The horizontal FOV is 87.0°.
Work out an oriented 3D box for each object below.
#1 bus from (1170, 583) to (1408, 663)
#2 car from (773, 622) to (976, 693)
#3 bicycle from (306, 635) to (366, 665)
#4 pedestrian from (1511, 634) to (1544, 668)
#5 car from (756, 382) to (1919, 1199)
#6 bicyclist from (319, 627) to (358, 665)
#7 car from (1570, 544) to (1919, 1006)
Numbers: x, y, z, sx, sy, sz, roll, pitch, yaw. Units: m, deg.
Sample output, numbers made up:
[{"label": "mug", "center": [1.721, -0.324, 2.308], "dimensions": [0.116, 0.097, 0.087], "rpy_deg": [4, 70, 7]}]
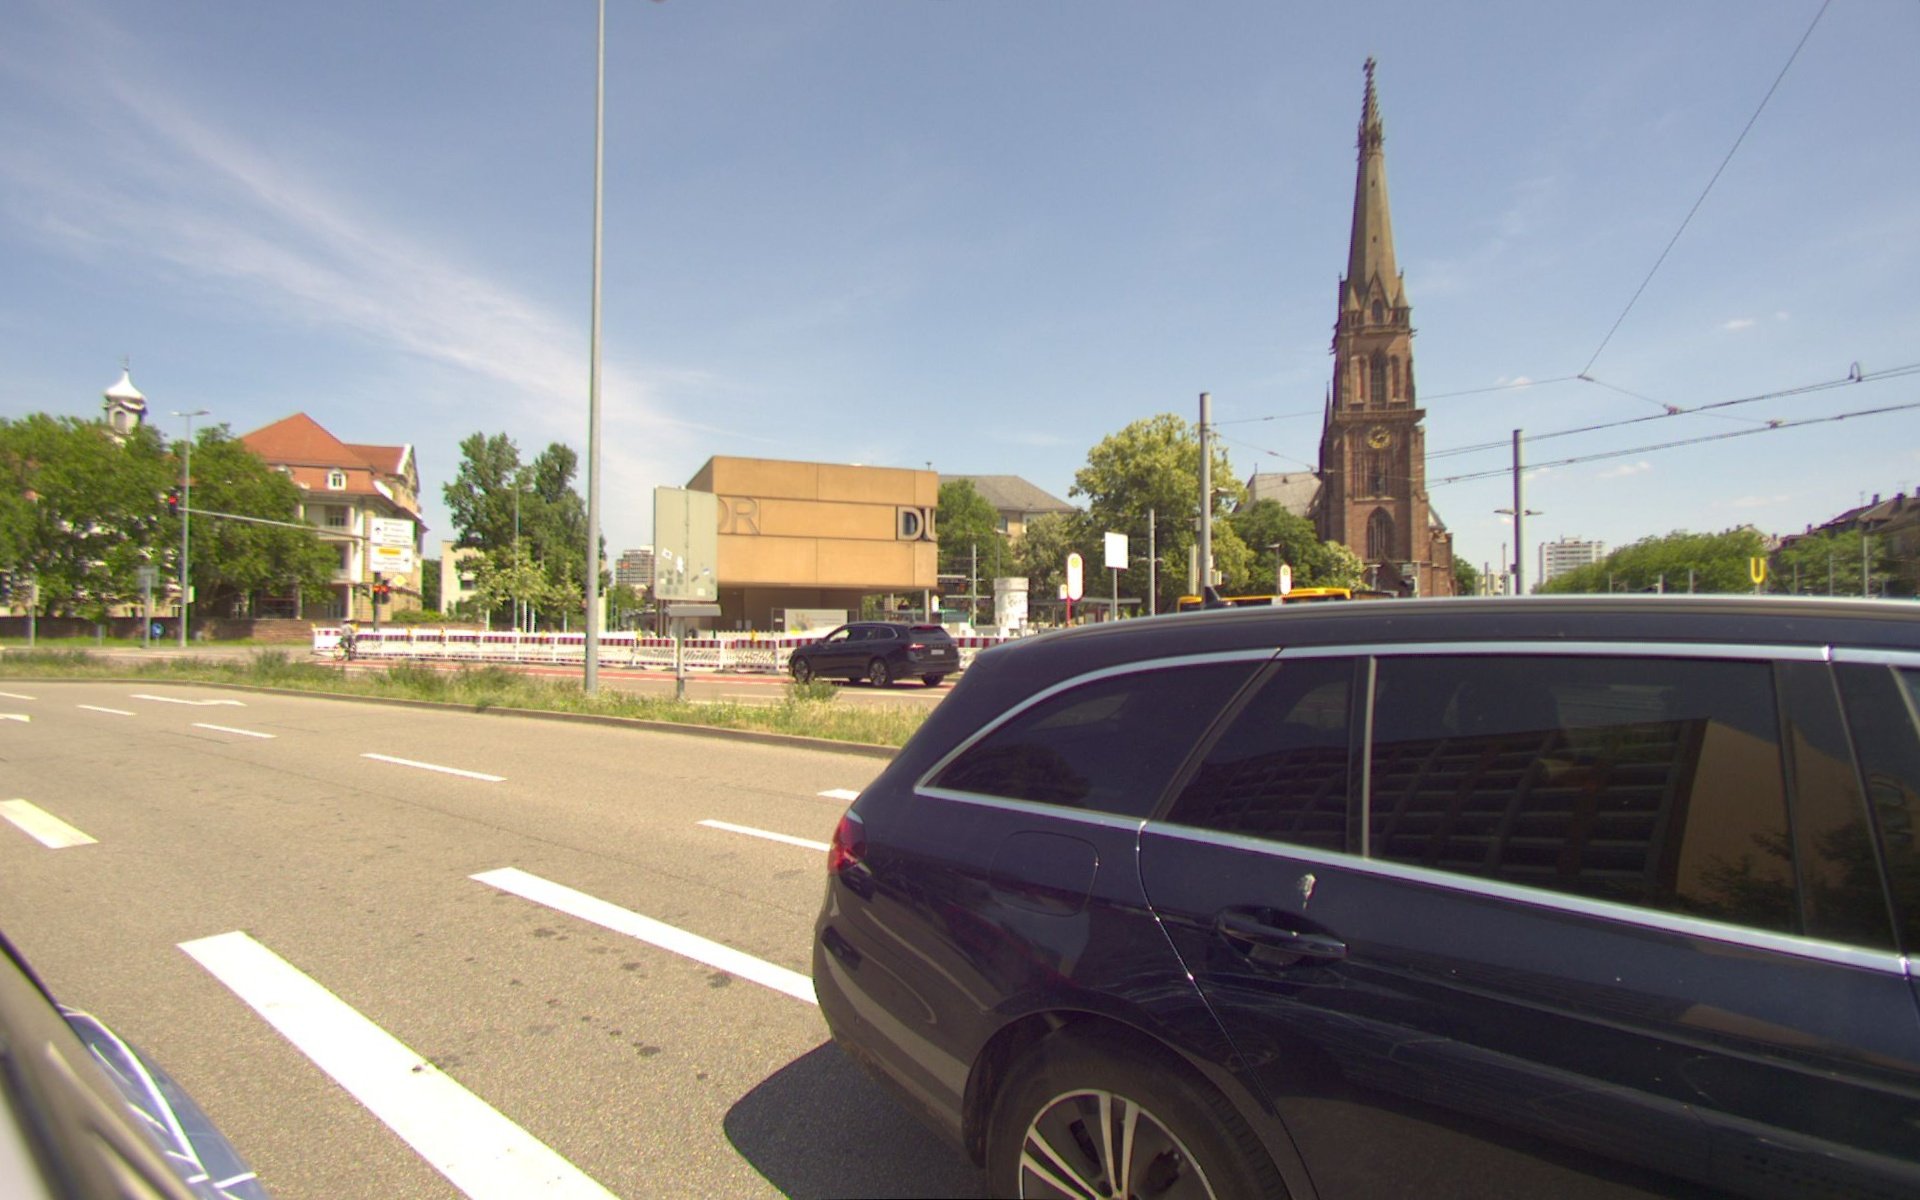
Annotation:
[{"label": "bus", "center": [14.032, 1.088, 45.019], "dimensions": [2.807, 3.039, 12.259], "rpy_deg": [1, -2, -22]}, {"label": "car", "center": [-2.072, 1.275, 23.514], "dimensions": [4.846, 1.476, 1.972], "rpy_deg": [-2, -3, 43]}, {"label": "bicycle", "center": [-23.348, 1.857, 37.866], "dimensions": [2.220, 1.080, 0.871], "rpy_deg": [-1, 0, 26]}, {"label": "pedestrian", "center": [22.411, 2.006, 39.982], "dimensions": [0.518, 1.344, 1.001], "rpy_deg": [1, -2, -17]}, {"label": "car", "center": [1.890, 0.584, 1.478], "dimensions": [4.803, 1.653, 1.778], "rpy_deg": [-2, -1, 42]}, {"label": "bicyclist", "center": [-23.292, 1.711, 37.915], "dimensions": [1.432, 1.366, 0.581], "rpy_deg": [-1, 0, 26]}, {"label": "car", "center": [4.497, 0.602, 3.580], "dimensions": [3.736, 1.588, 1.725], "rpy_deg": [-2, -3, 42]}]
